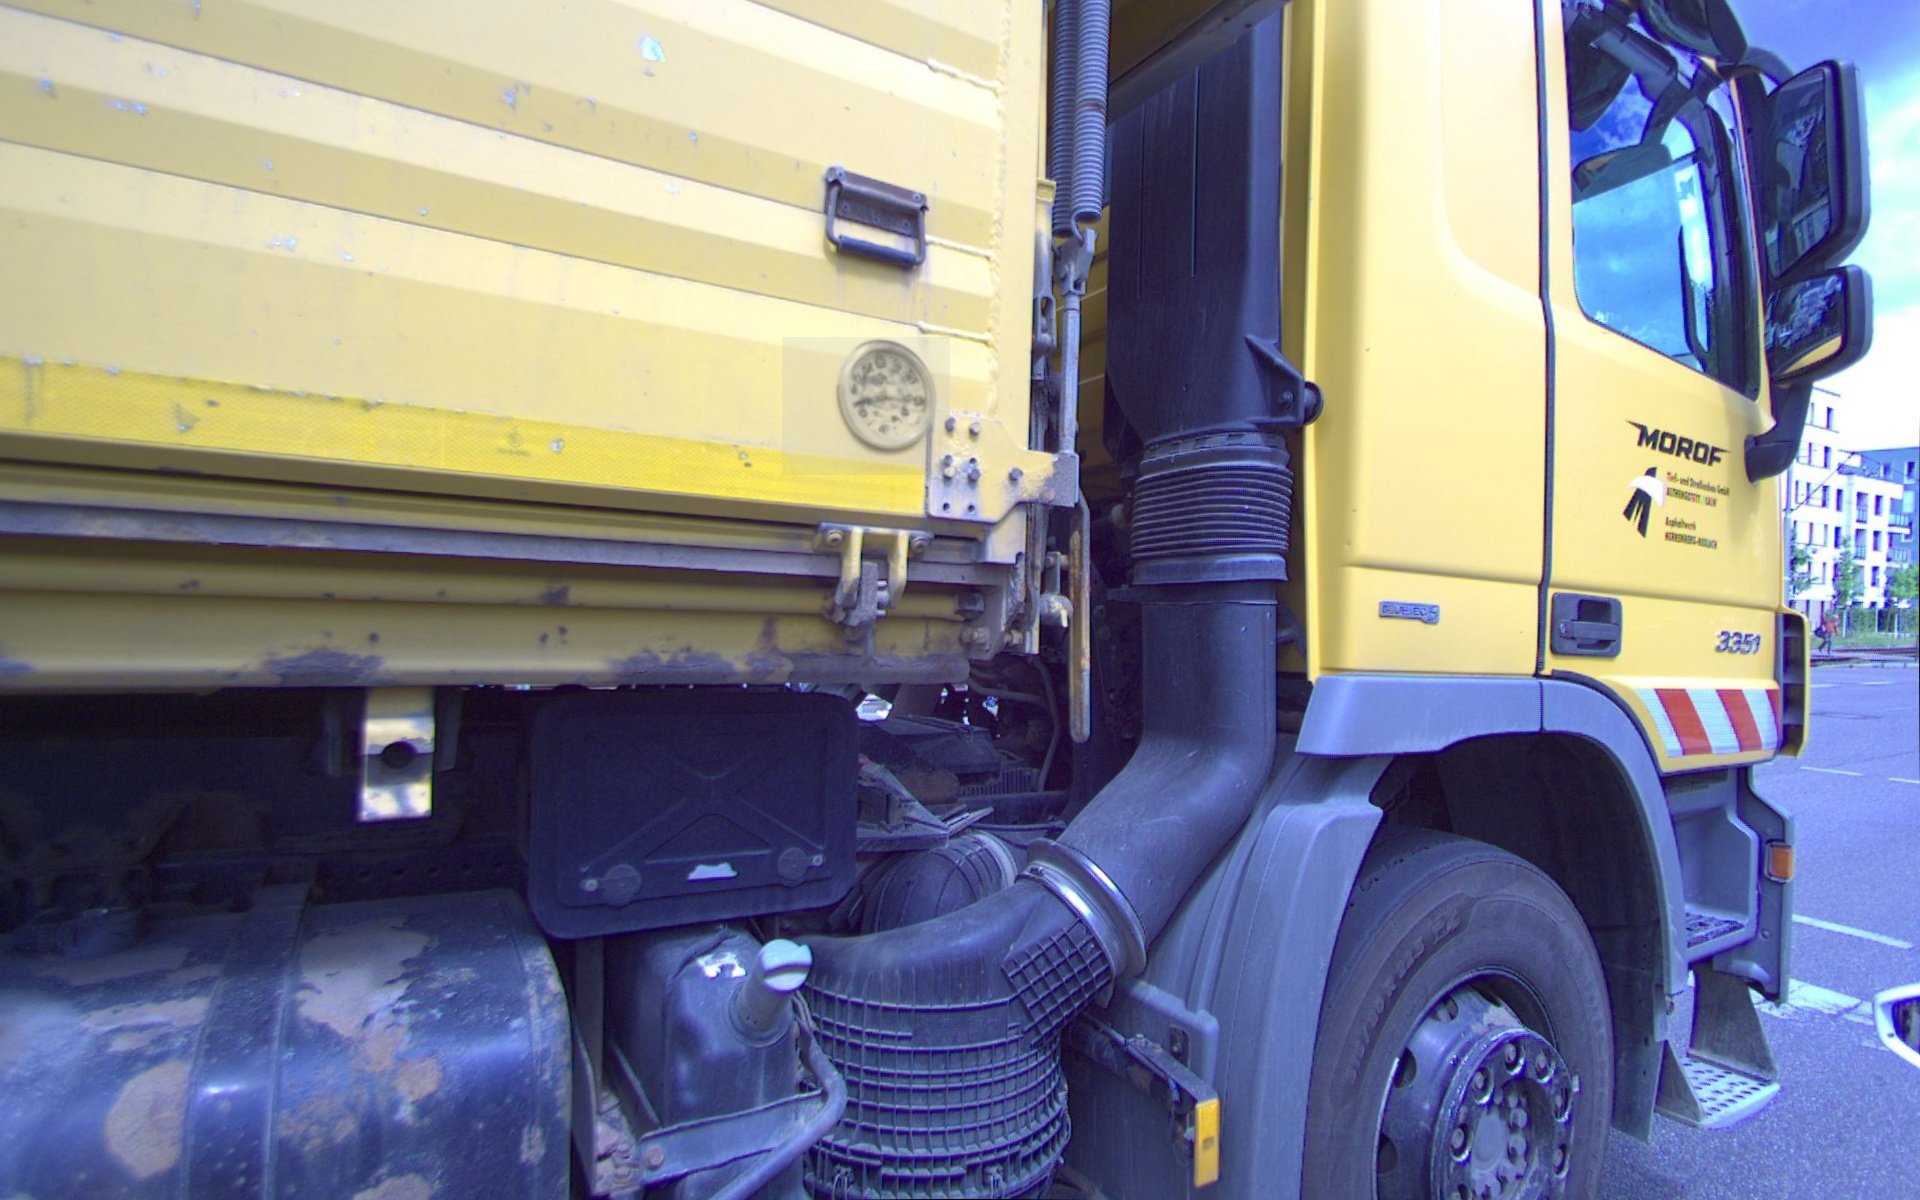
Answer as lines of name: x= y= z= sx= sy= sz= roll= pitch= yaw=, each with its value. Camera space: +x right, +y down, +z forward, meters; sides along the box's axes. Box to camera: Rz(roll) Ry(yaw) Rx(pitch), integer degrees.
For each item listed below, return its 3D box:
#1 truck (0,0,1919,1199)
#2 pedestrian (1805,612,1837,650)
truck: x=-1.673 y=-0.234 z=1.698 sx=7.916 sy=3.439 sz=3.033 roll=1 pitch=0 yaw=-32
pedestrian: x=35.527 y=1.277 z=41.466 sx=0.628 sy=1.536 sz=0.827 roll=1 pitch=0 yaw=-30
